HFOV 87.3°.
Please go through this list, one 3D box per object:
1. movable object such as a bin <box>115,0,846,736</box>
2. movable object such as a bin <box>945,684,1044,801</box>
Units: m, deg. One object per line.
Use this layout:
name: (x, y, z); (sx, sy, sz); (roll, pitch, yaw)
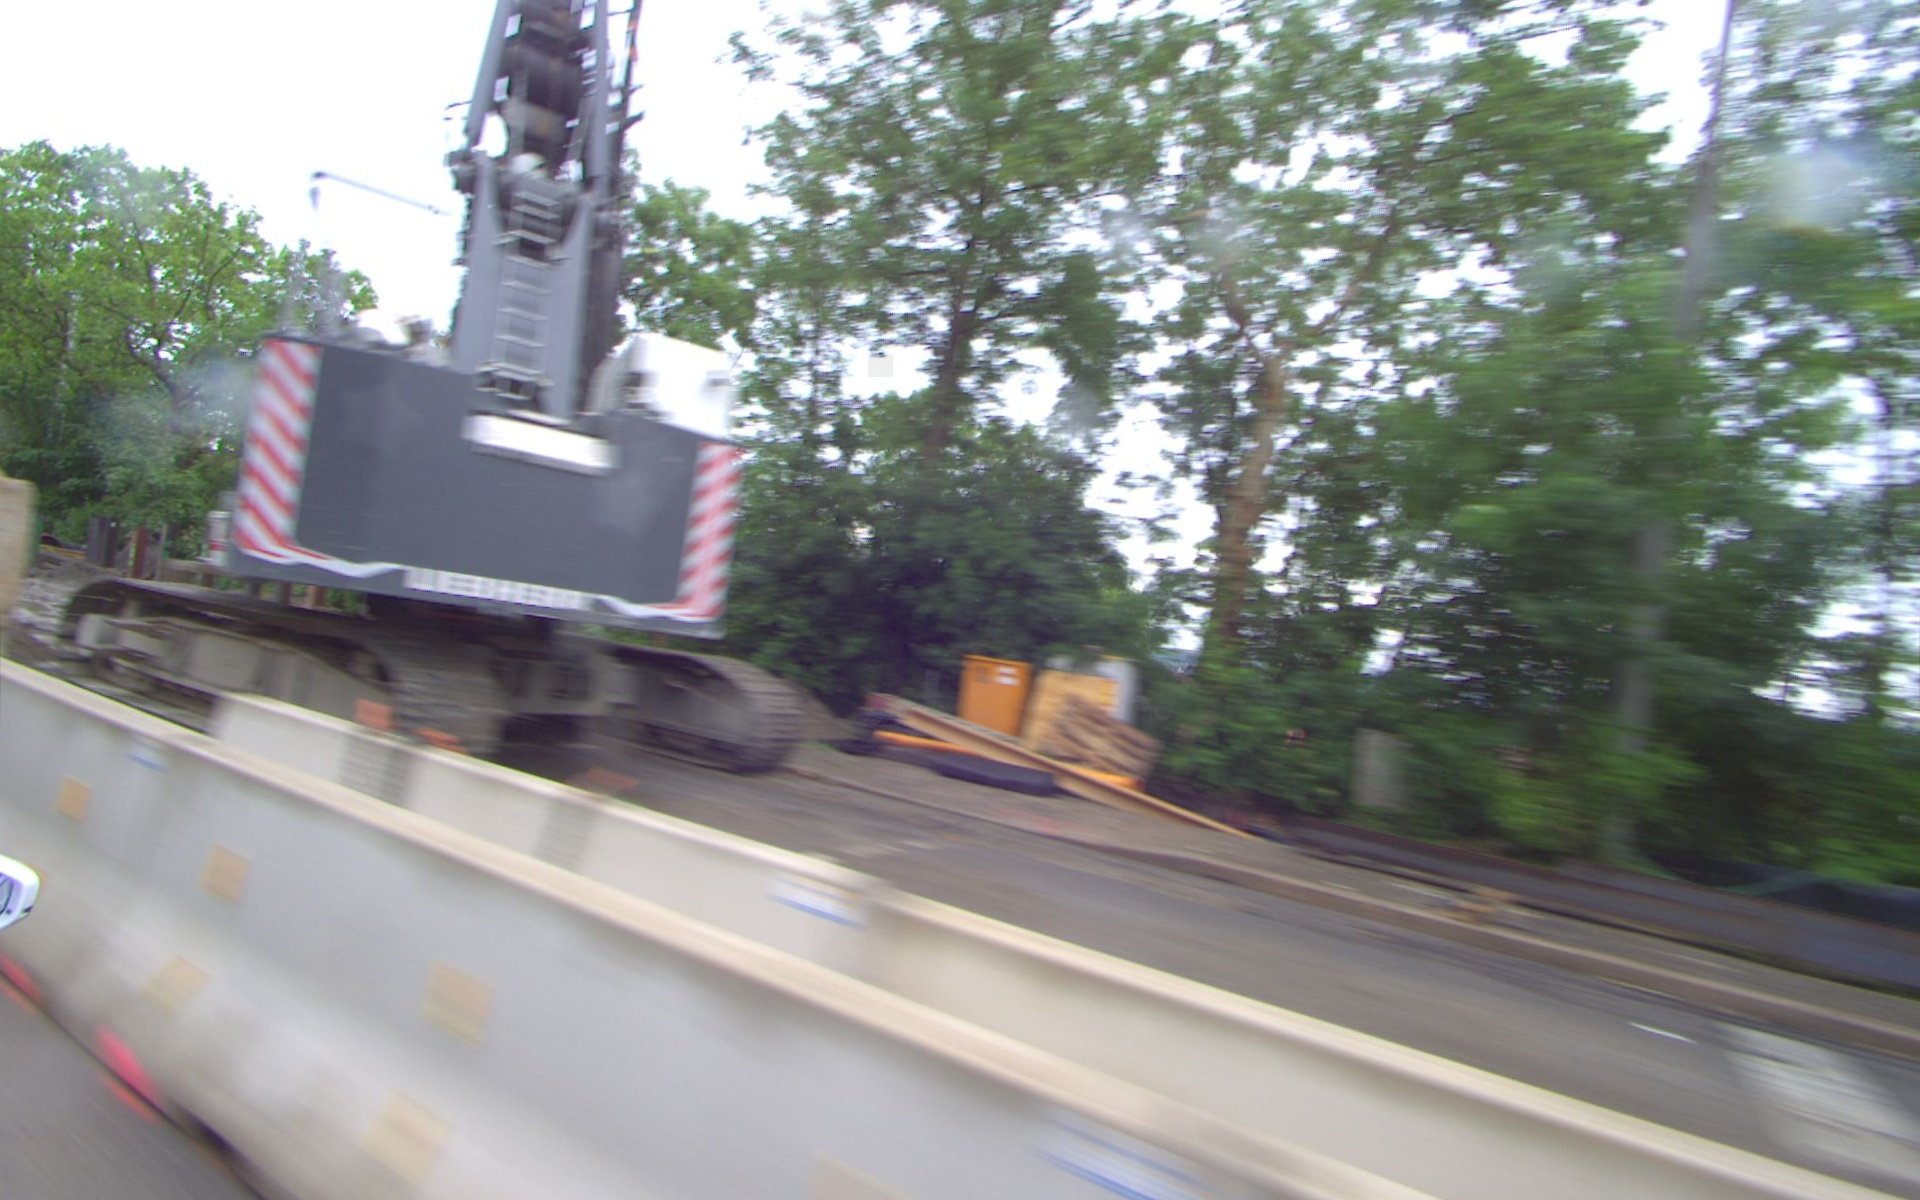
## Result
movable object such as a bin: (-4.458, -1.881, 9.476); (3.656, 5.124, 7.110); (8, -2, -30)
movable object such as a bin: (0.447, 1.805, 12.773); (0.829, 1.322, 0.757); (6, -4, 31)
